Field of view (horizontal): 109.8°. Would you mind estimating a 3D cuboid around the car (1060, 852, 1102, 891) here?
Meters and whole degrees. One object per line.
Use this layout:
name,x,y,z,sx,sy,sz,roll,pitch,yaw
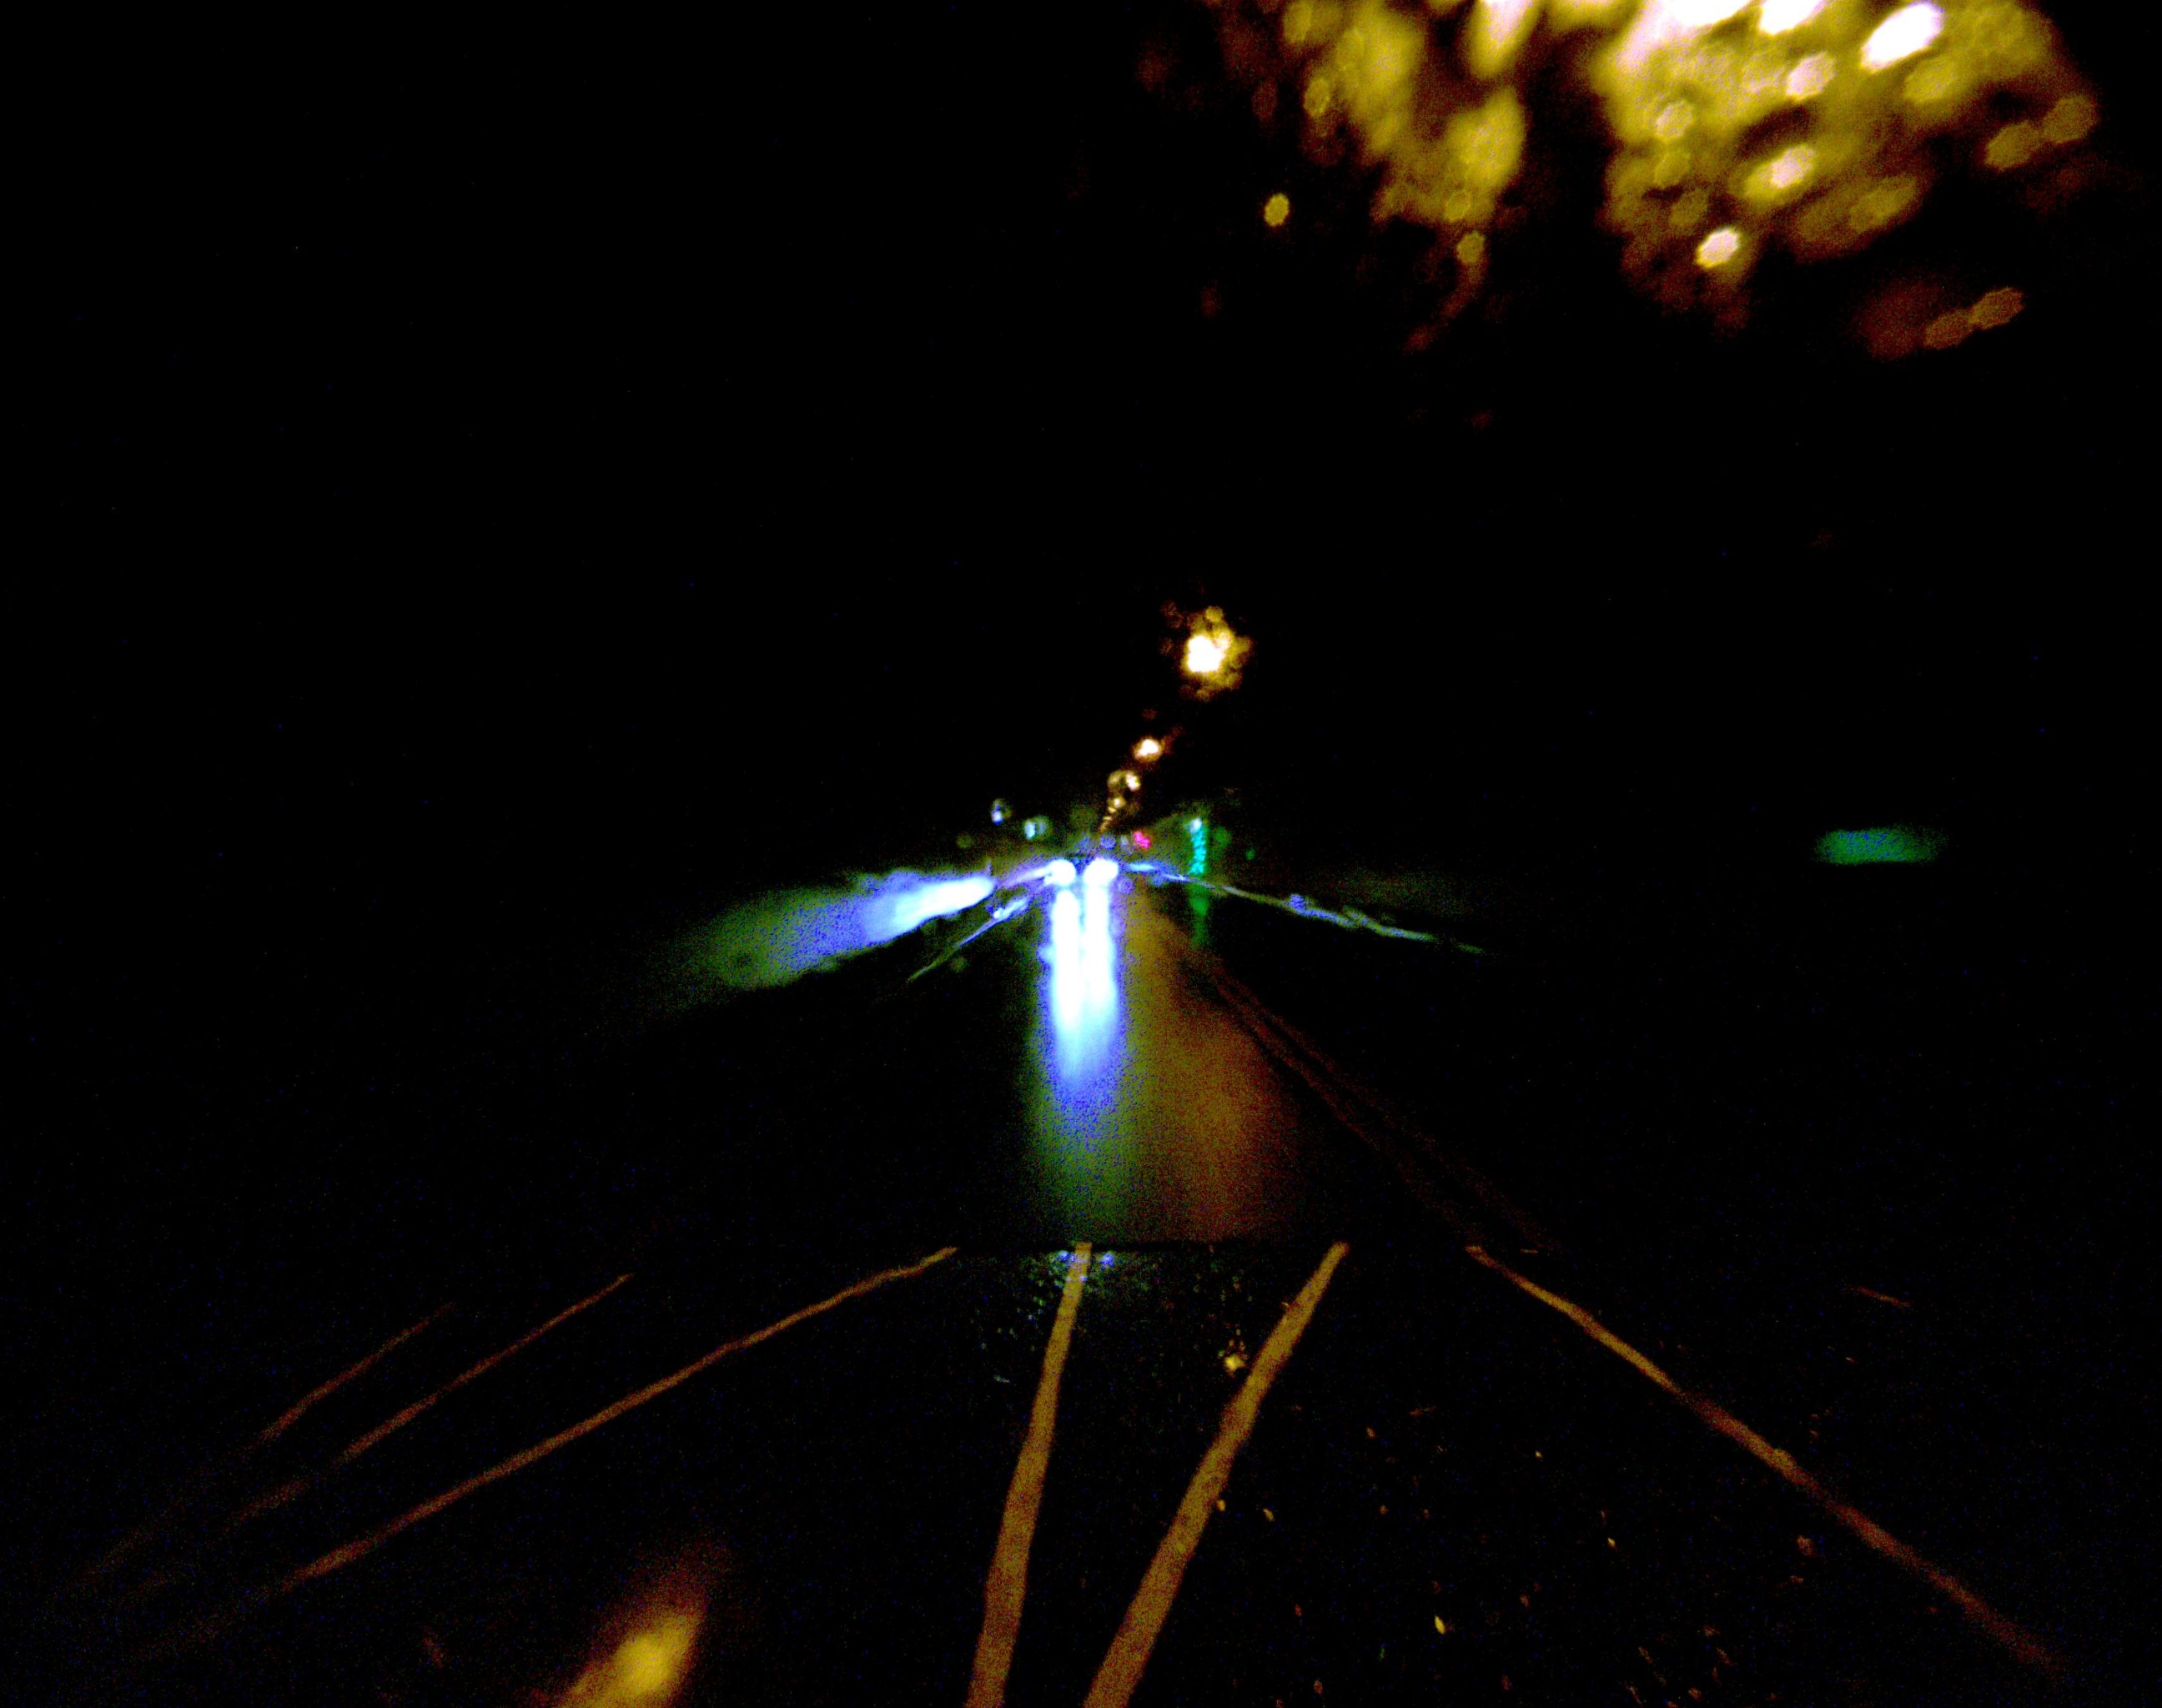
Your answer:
car,0.029,0.748,34.902,1.829,1.650,3.929,-1,0,1
